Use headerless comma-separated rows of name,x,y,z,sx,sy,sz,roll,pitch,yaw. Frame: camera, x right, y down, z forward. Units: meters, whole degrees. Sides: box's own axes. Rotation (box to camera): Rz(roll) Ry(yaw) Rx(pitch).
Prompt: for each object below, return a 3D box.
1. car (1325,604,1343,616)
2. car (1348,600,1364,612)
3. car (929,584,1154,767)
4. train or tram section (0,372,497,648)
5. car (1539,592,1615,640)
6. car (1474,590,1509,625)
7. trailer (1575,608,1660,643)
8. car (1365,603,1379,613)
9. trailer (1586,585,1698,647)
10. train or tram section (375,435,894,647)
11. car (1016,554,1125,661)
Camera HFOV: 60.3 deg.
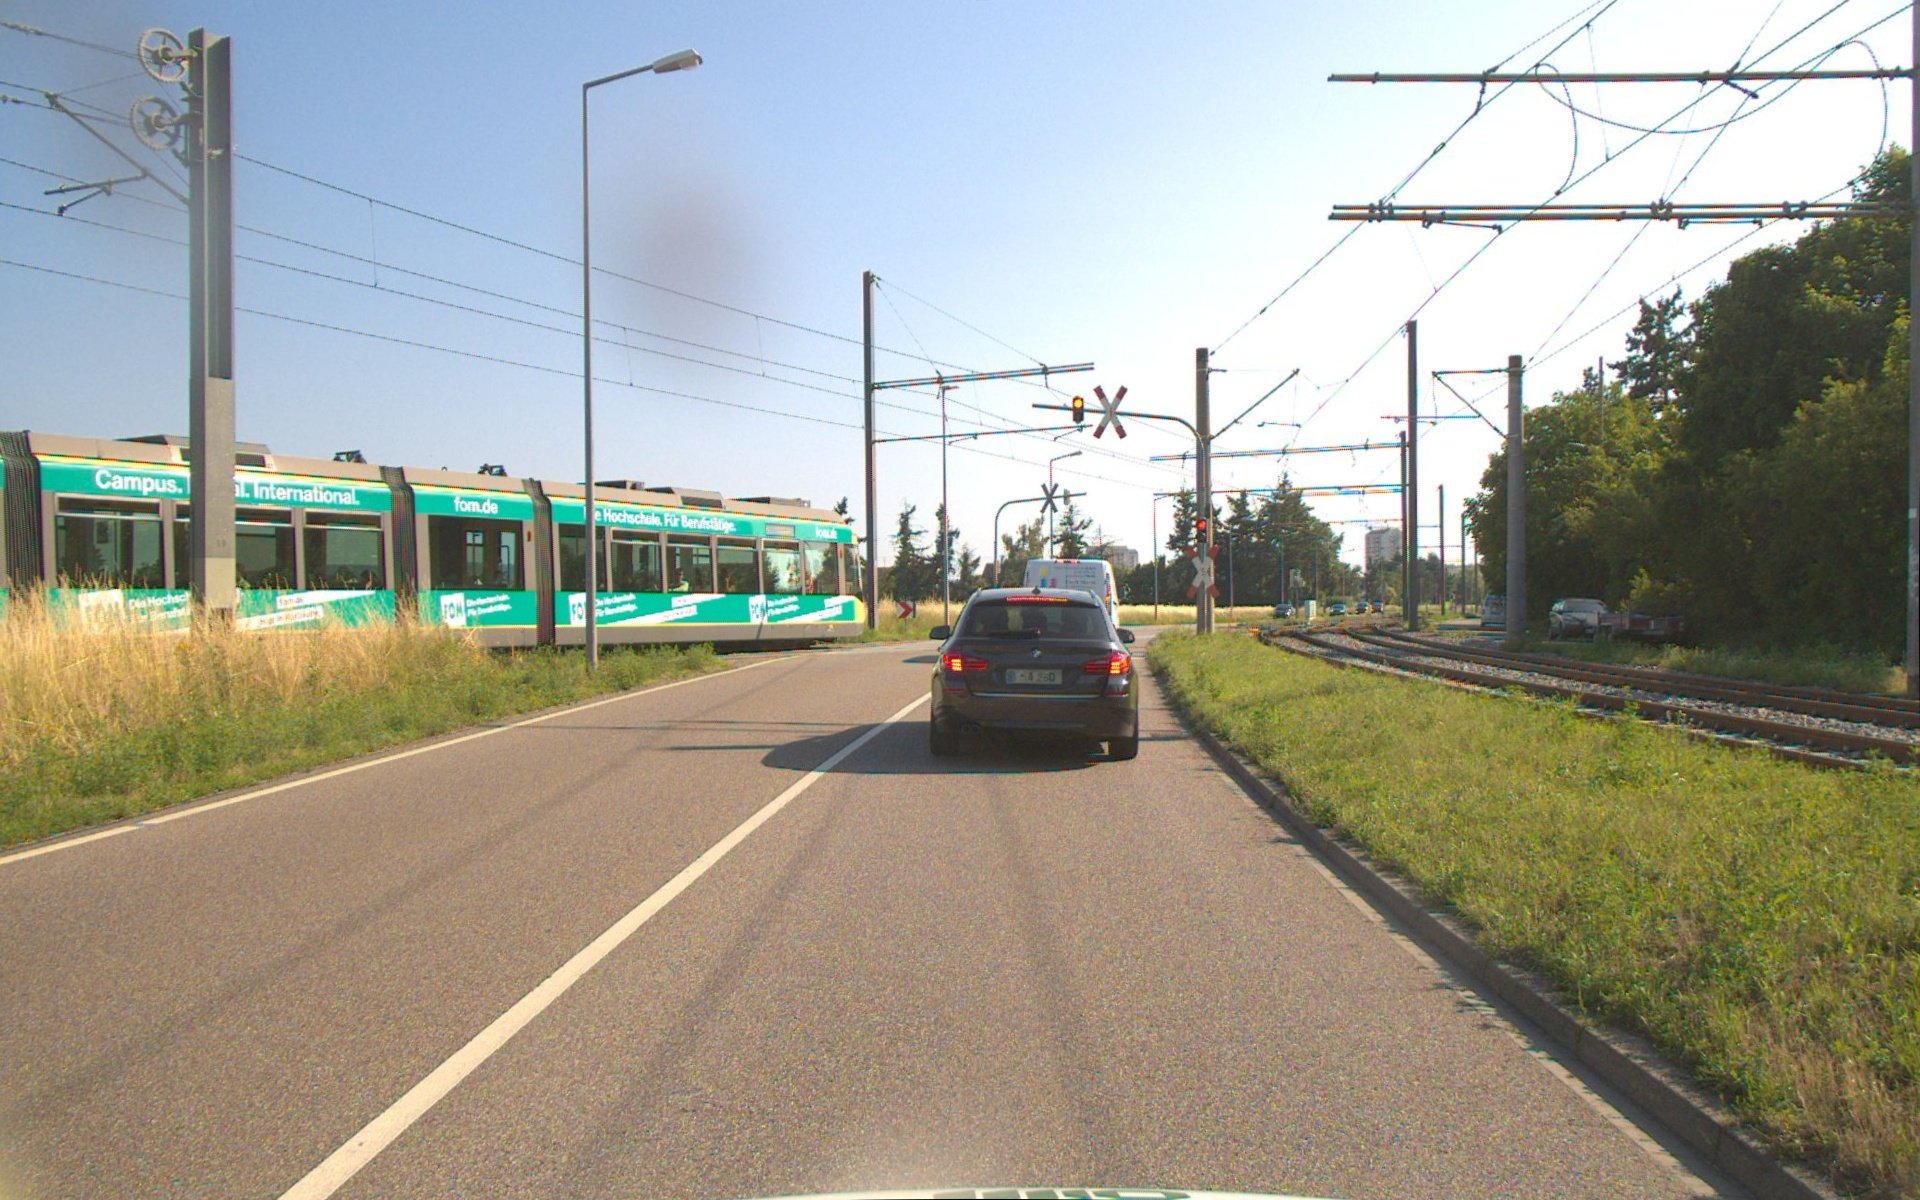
car,44.585,1.166,197.167,1.657,1.465,4.285,1,0,18
car,54.369,0.814,227.188,1.671,1.694,4.591,0,0,19
car,0.768,0.592,15.908,1.830,1.478,4.745,0,1,2
train or tram section,-12.194,-1.115,24.295,2.861,3.514,12.150,1,-1,27
car,20.794,0.498,55.918,1.662,1.482,4.885,2,1,12
car,33.212,0.468,103.253,1.952,2.039,5.069,2,0,18
trailer,20.281,0.756,51.165,1.694,0.956,3.731,3,0,10
car,61.299,1.186,246.088,1.677,1.576,3.929,0,0,20
trailer,19.400,0.437,47.211,1.983,1.624,4.263,2,0,9
train or tram section,-6.212,-0.882,36.119,2.850,3.631,14.242,1,-2,27
car,2.359,0.140,34.043,1.818,2.023,5.112,0,0,8
